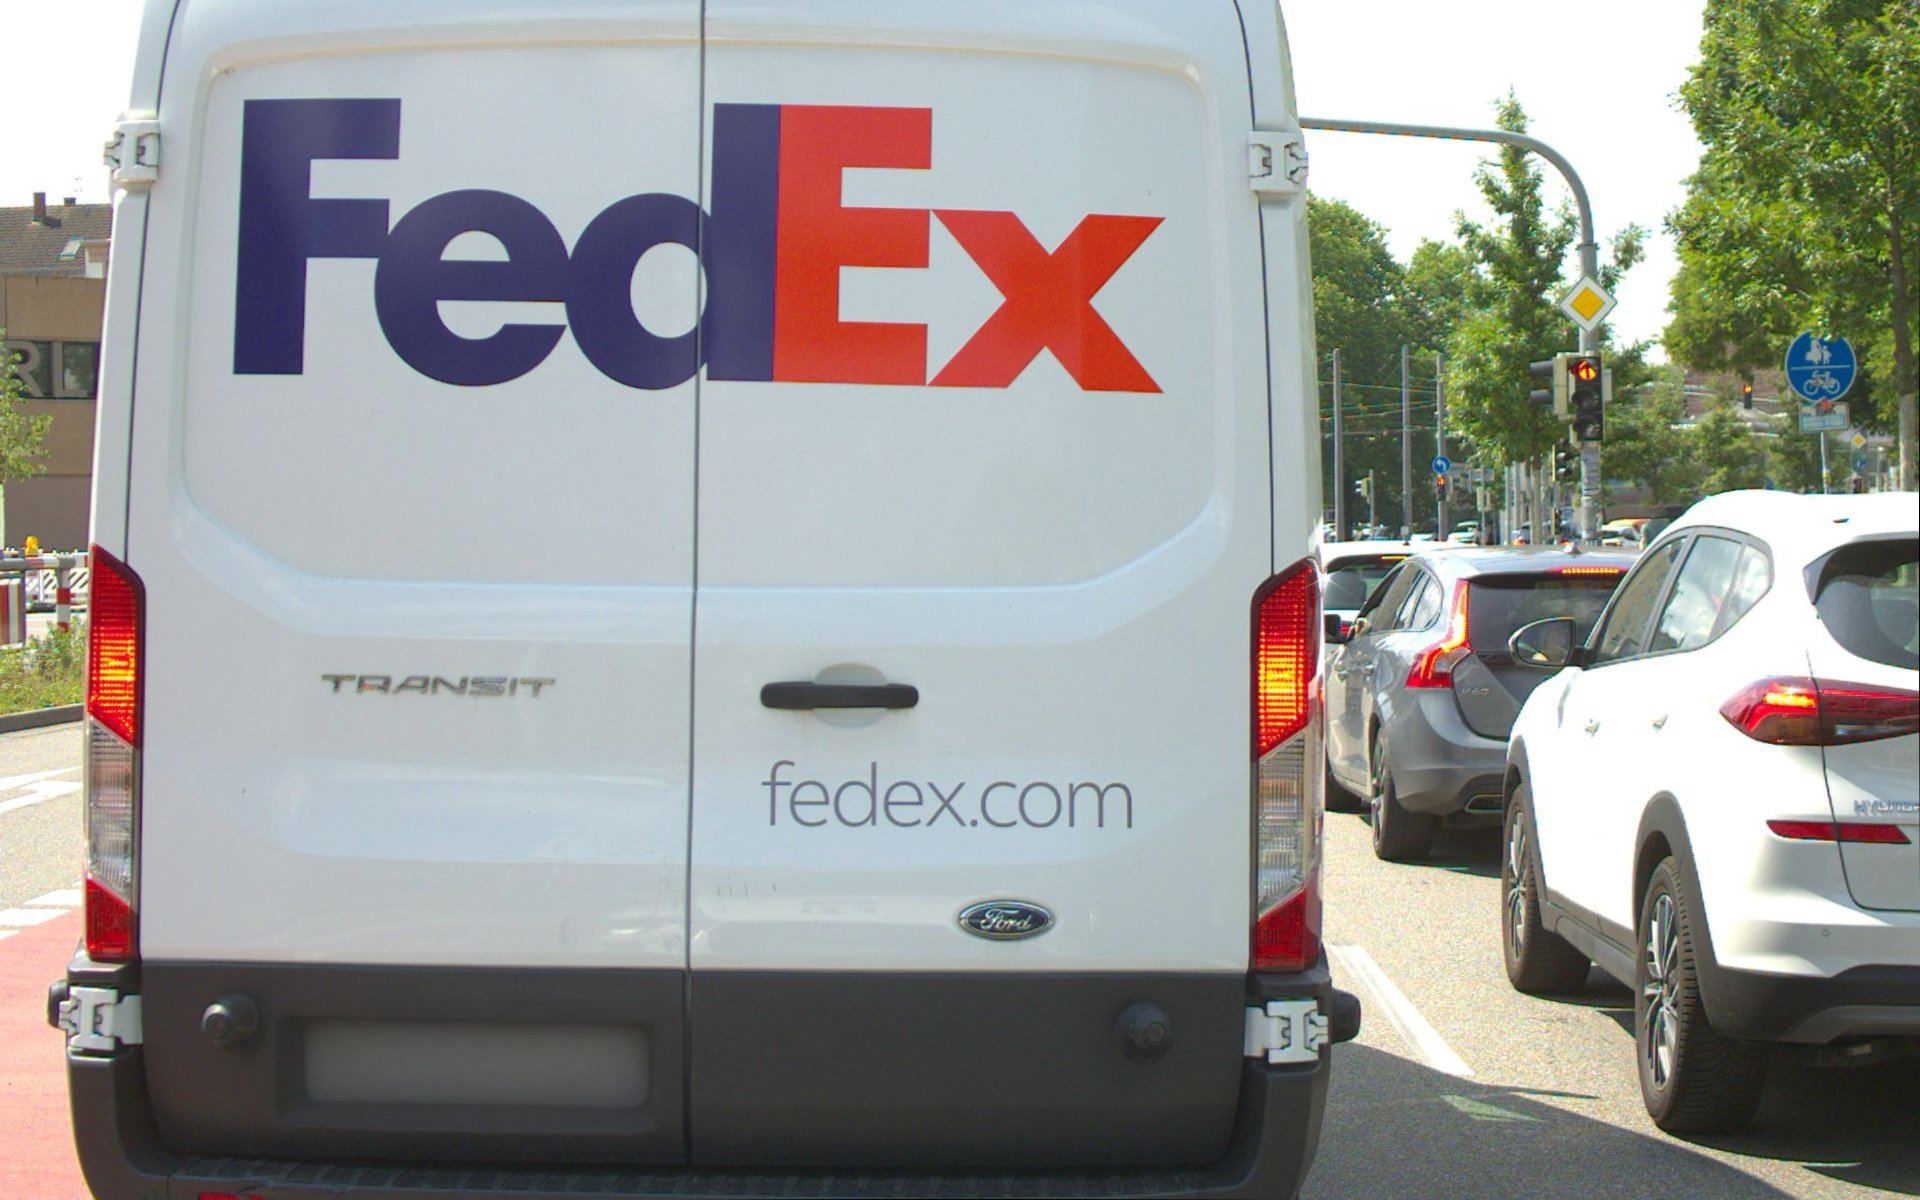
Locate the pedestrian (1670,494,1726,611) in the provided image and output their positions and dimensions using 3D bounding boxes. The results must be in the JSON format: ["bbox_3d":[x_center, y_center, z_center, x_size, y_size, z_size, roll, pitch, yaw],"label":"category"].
[{"bbox_3d":[11.780,-0.758,54.893,0.759,1.843,0.816,-1,1,3],"label":"pedestrian"}]

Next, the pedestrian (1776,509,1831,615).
[{"bbox_3d":[14.860,-0.679,60.582,0.759,1.843,0.816,-1,1,1],"label":"pedestrian"}]

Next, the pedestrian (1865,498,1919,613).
[{"bbox_3d":[15.302,-0.733,56.134,0.758,1.843,0.816,-1,1,-8],"label":"pedestrian"}]

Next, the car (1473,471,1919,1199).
[{"bbox_3d":[2.634,0.489,9.748,1.814,1.673,3.974,0,1,1],"label":"car"}]

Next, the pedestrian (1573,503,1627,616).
[{"bbox_3d":[10.558,-0.670,56.683,0.759,1.843,0.815,0,1,18],"label":"pedestrian"}]

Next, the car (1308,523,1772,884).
[{"bbox_3d":[2.711,0.411,16.813,1.691,1.543,3.720,0,1,1],"label":"car"}]

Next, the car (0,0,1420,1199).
[{"bbox_3d":[-0.341,0.070,7.184,2.072,2.572,4.428,0,1,1],"label":"car"}]

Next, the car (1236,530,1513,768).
[{"bbox_3d":[2.734,0.273,23.268,1.499,1.459,3.474,0,1,1],"label":"car"}]

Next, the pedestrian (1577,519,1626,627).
[{"bbox_3d":[11.015,-0.469,59.043,0.759,1.843,0.816,0,1,15],"label":"pedestrian"}]

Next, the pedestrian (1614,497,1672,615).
[{"bbox_3d":[10.823,-0.701,54.527,0.759,1.843,0.816,-1,1,1],"label":"pedestrian"}]

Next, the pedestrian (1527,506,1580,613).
[{"bbox_3d":[10.319,-0.707,59.805,0.813,1.843,0.761,-1,1,3],"label":"pedestrian"}]

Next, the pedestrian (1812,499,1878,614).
[{"bbox_3d":[14.405,-0.717,55.988,0.758,1.843,0.816,-1,1,-10],"label":"pedestrian"}]

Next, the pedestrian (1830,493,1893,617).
[{"bbox_3d":[13.108,-0.662,50.011,0.759,1.783,0.816,0,1,5],"label":"pedestrian"}]
